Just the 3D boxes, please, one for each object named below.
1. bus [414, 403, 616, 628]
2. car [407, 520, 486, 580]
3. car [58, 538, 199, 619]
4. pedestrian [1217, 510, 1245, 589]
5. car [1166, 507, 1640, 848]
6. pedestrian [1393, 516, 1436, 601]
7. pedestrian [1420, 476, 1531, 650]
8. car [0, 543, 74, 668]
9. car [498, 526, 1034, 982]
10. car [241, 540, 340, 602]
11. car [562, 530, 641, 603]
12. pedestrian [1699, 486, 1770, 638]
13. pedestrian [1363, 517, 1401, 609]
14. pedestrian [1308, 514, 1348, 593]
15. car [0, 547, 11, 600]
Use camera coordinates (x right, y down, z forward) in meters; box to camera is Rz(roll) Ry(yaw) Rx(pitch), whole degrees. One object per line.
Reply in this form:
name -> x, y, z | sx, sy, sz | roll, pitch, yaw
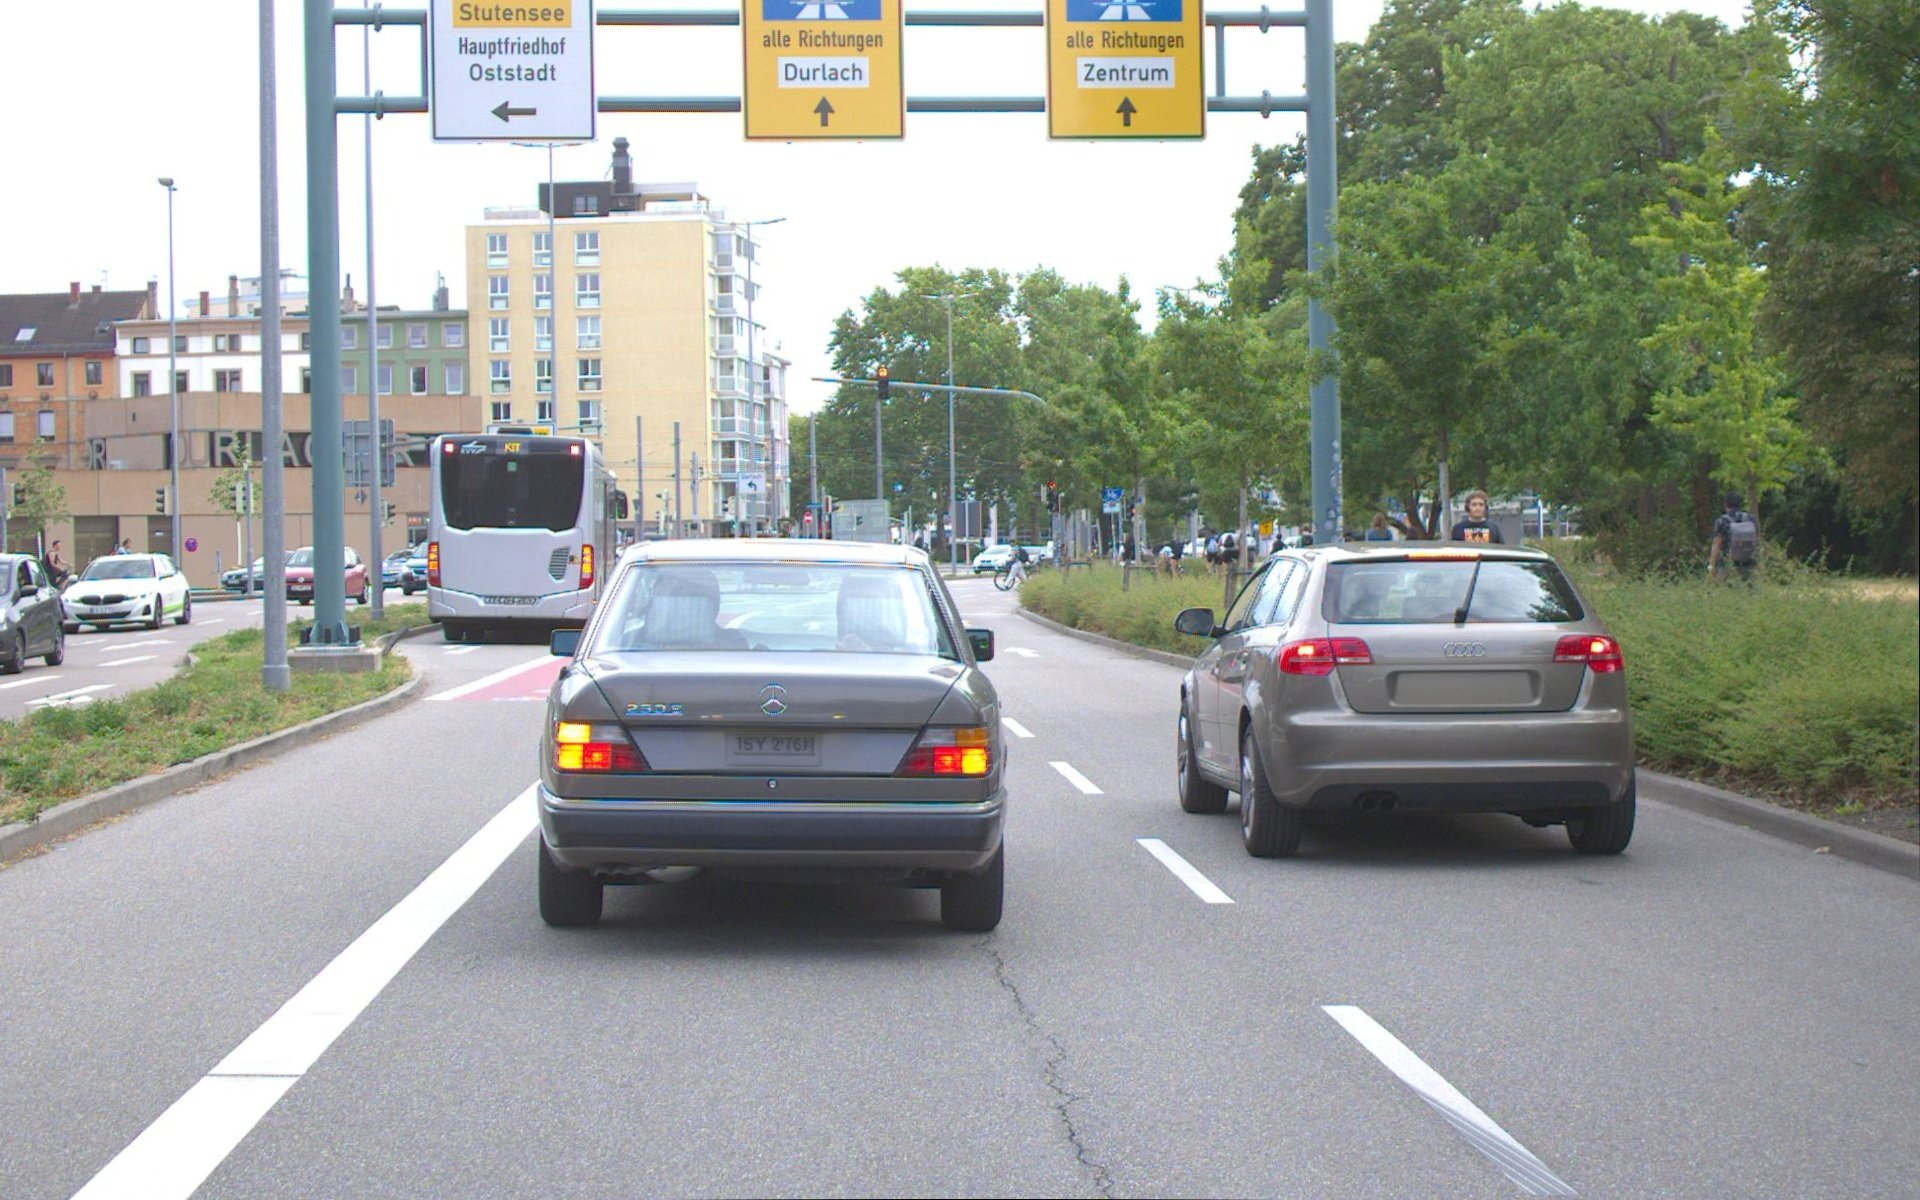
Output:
bus -> -7.132, -1.374, 56.017 | 2.831, 3.378, 8.184 | -1, 1, -5
car -> -15.079, -1.488, 101.113 | 1.801, 1.660, 4.301 | -3, 1, -3
car -> -16.085, -0.437, 66.706 | 1.801, 1.484, 4.416 | -1, 1, -2
pedestrian -> 6.923, -1.299, 87.911 | 0.614, 2.007, 0.597 | 0, 1, -4
car -> 2.029, 0.292, 16.733 | 1.724, 1.452, 3.736 | -1, 1, -1
pedestrian -> 7.946, -0.731, 60.108 | 0.657, 1.465, 0.561 | -1, 1, 14
pedestrian -> 5.490, -0.399, 36.623 | 0.935, 1.824, 0.886 | -1, 1, 25
car -> -12.415, 0.054, 43.411 | 1.571, 1.484, 3.637 | -1, 1, -1
car -> -0.765, 0.465, 13.508 | 1.761, 1.484, 4.172 | -1, 1, -3
car -> -16.851, -0.762, 86.713 | 1.801, 1.484, 4.289 | -1, 1, -2
car -> -7.829, -0.753, 75.208 | 1.655, 1.391, 3.861 | -1, 3, -5
pedestrian -> 8.684, -0.426, 38.562 | 0.587, 1.677, 0.748 | -1, 1, -2
pedestrian -> 7.979, -0.700, 64.975 | 0.647, 1.707, 0.561 | -1, 1, 12
pedestrian -> 8.054, -1.010, 75.232 | 0.802, 1.707, 0.764 | -1, 1, 10
car -> -29.906, -0.794, 100.737 | 3.855, 1.512, 1.661 | 0, 1, -7
